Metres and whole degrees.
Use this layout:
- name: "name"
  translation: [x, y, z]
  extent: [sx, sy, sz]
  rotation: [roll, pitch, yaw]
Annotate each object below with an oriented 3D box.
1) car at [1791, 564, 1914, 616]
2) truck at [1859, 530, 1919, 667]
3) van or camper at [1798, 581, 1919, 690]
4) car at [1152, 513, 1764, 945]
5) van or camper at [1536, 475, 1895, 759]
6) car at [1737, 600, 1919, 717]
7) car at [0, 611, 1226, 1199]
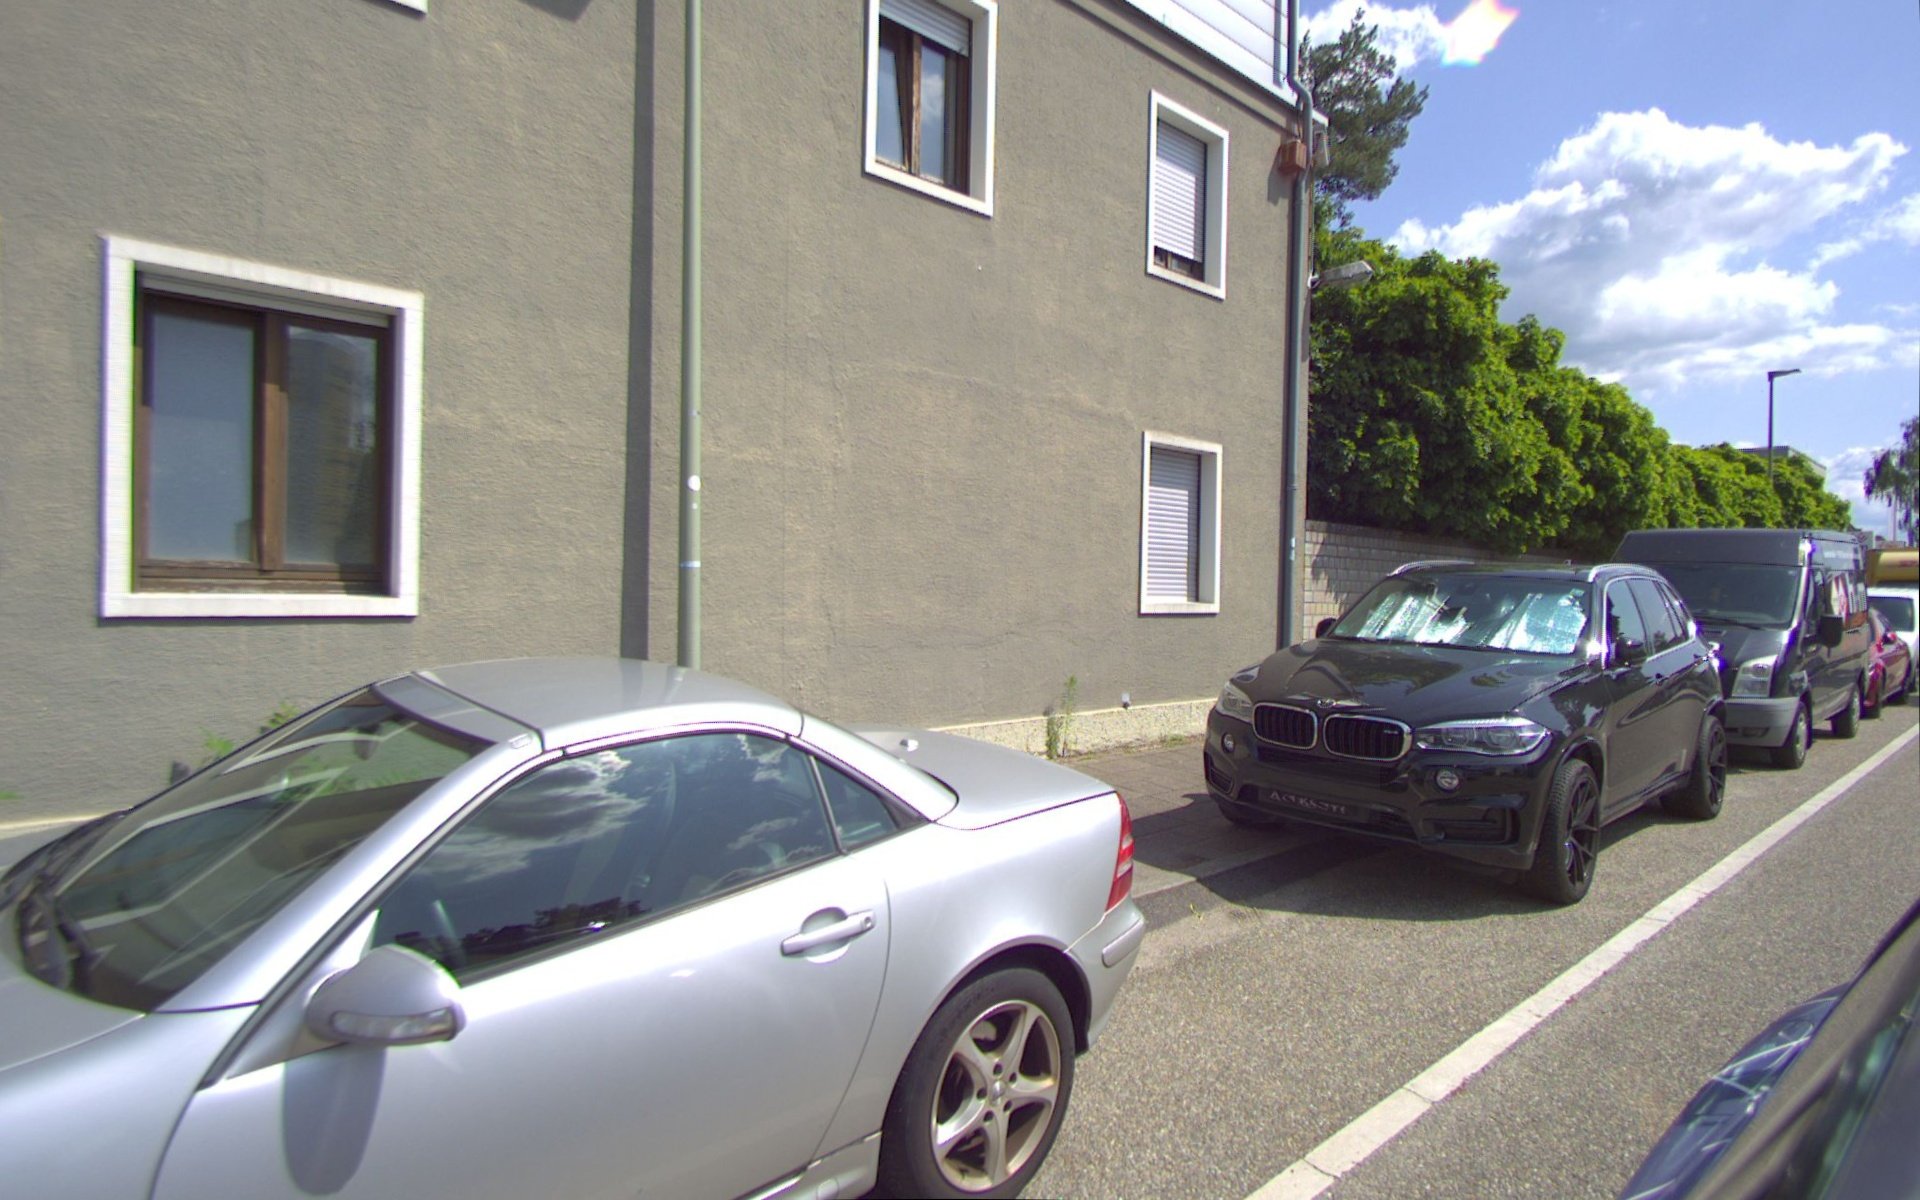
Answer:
- name: "car"
  translation: [48.116, -0.539, 54.669]
  extent: [4.904, 2.685, 2.042]
  rotation: [1, 1, 42]
- name: "truck"
  translation: [23.686, -0.042, 24.243]
  extent: [7.066, 2.977, 2.477]
  rotation: [0, -1, -43]
- name: "van or camper"
  translation: [17.691, 0.578, 19.289]
  extent: [5.489, 1.828, 1.762]
  rotation: [0, 0, -41]
- name: "car"
  translation: [3.531, 0.542, 6.614]
  extent: [4.870, 1.803, 1.962]
  rotation: [0, -1, -43]
- name: "van or camper"
  translation: [8.244, 0.140, 10.808]
  extent: [5.353, 2.320, 1.996]
  rotation: [0, -1, -41]
- name: "car"
  translation: [13.131, 0.741, 15.002]
  extent: [4.684, 1.460, 1.684]
  rotation: [0, 0, -41]
- name: "car"
  translation: [-1.210, 0.747, 2.270]
  extent: [3.855, 1.370, 1.632]
  rotation: [0, 1, -41]
